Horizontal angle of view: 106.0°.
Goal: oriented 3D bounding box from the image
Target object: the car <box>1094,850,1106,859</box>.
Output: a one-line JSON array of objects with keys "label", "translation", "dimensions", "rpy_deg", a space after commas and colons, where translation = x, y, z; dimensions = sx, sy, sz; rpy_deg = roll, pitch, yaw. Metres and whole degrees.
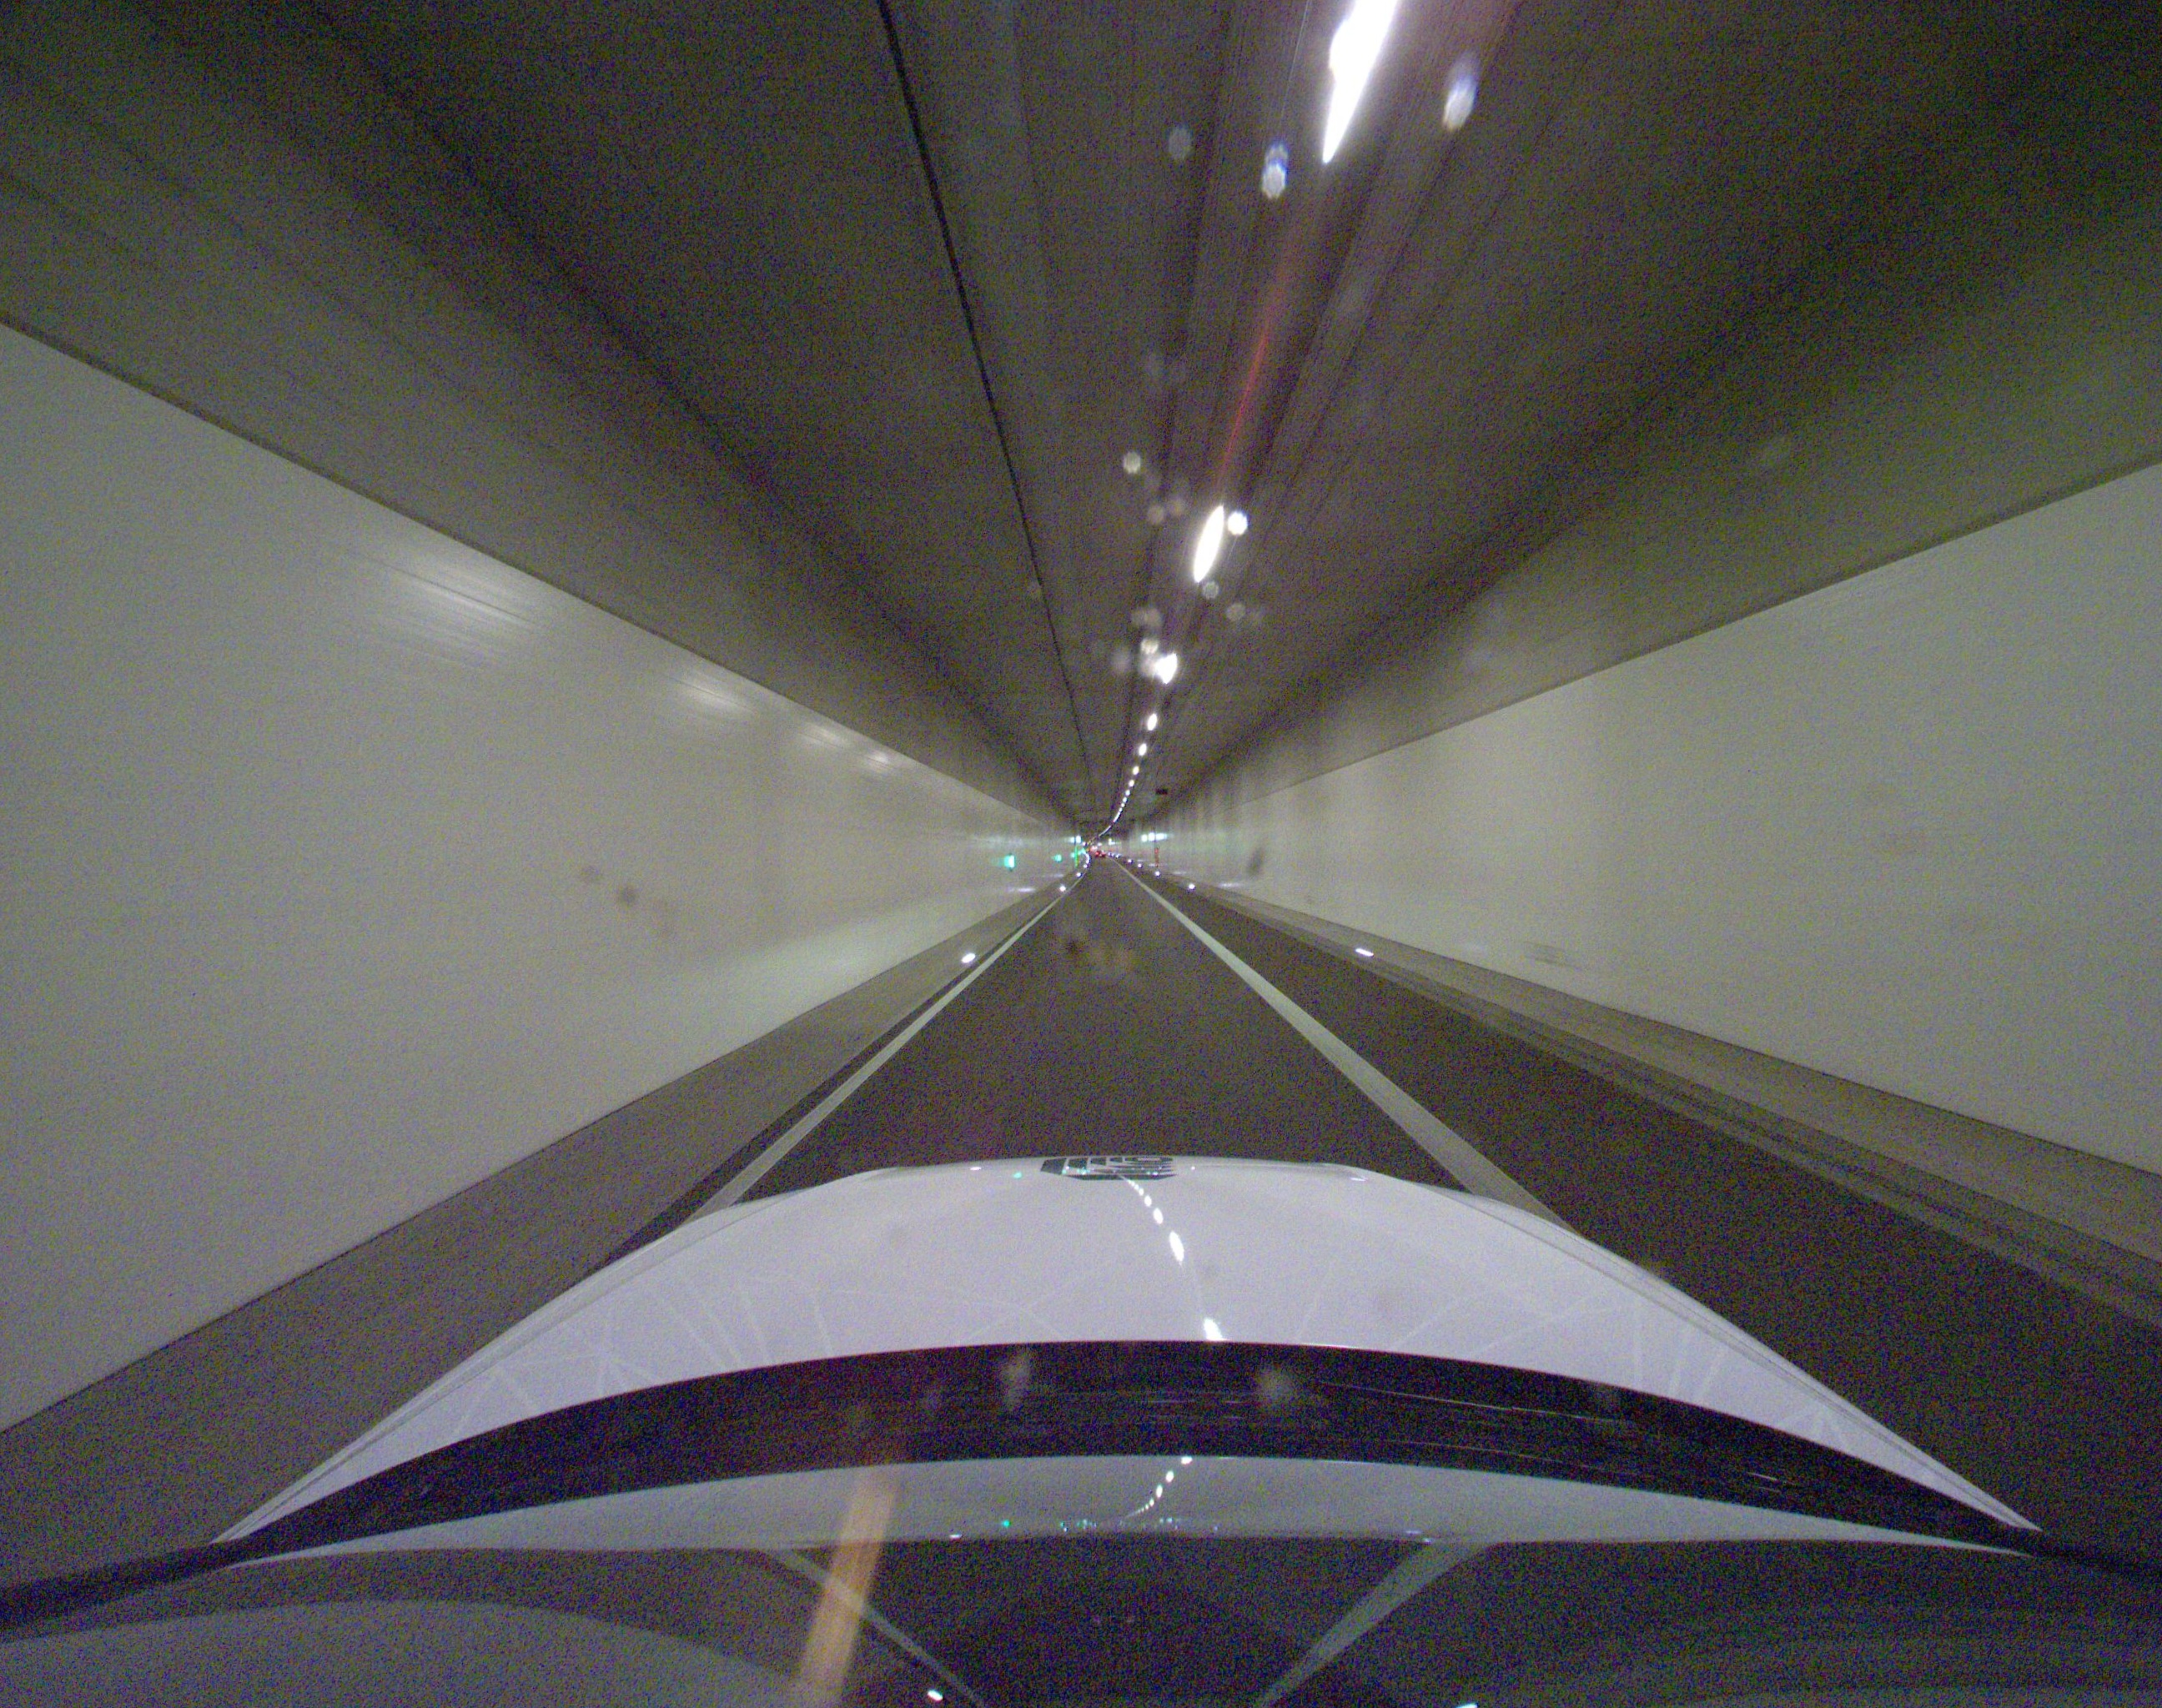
[{"label": "car", "translation": [3.405, 0.076, 147.236], "dimensions": [1.987, 1.420, 3.999], "rpy_deg": [-1, 0, -1]}]
